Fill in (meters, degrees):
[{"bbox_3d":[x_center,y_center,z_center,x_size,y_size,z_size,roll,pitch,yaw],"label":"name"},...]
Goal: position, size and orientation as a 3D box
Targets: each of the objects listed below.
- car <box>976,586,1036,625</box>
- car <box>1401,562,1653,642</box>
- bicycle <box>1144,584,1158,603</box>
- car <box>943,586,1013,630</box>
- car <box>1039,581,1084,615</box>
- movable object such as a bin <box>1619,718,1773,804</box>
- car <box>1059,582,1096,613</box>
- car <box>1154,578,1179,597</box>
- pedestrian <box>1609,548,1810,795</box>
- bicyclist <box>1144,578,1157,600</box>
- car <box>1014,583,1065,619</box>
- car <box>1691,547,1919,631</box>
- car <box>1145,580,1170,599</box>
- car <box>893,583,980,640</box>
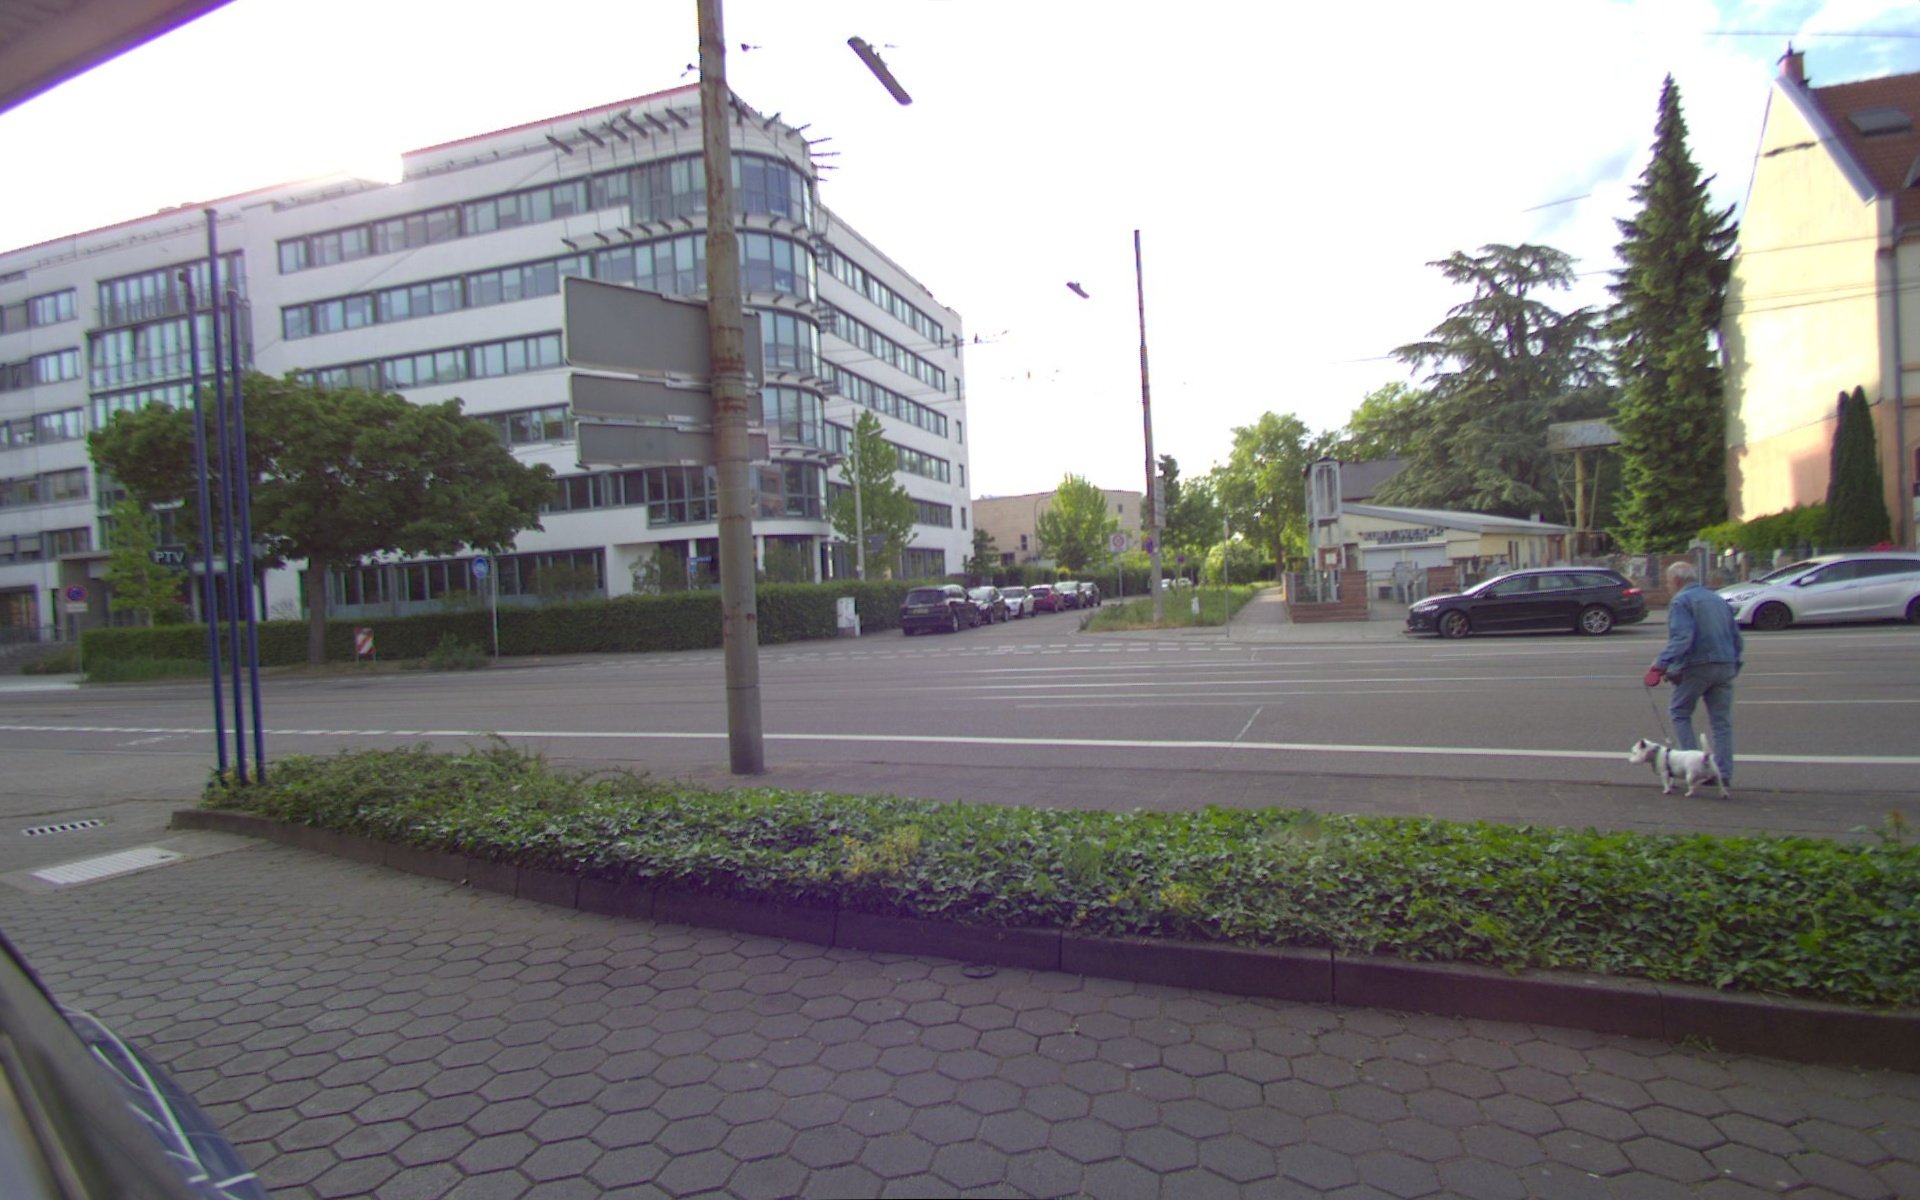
[{"bbox_3d":[2.138,0.211,45.789,1.929,1.530,4.274,-3,0,13],"label":"car"},{"bbox_3d":[12.908,0.051,23.445,4.742,1.511,2.001,-3,1,21],"label":"car"},{"bbox_3d":[14.689,-0.527,77.764,0.858,1.320,1.910,-3,3,16],"label":"bicycle"},{"bbox_3d":[0.790,0.288,40.978,1.929,1.551,4.274,-3,0,13],"label":"car"},{"bbox_3d":[5.831,-0.153,57.724,1.929,1.748,4.512,-3,0,13],"label":"car"},{"bbox_3d":[4.987,1.076,6.882,0.473,0.424,0.682,-4,1,-16],"label":"movable object such as a bin"},{"bbox_3d":[7.285,-0.164,62.498,1.731,1.748,4.030,-3,0,13],"label":"car"},{"bbox_3d":[21.686,-1.340,106.164,1.849,1.748,4.246,-3,1,19],"label":"car"},{"bbox_3d":[5.536,0.497,7.562,0.999,1.680,0.962,-3,1,29],"label":"pedestrian"},{"bbox_3d":[14.645,-0.855,77.666,0.858,1.617,1.023,-2,3,16],"label":"bicyclist"},{"bbox_3d":[4.171,0.020,52.495,1.929,1.650,4.274,-3,0,13],"label":"car"},{"bbox_3d":[18.419,-0.249,21.384,4.424,1.494,1.713,-3,1,21],"label":"car"},{"bbox_3d":[19.694,-1.090,100.795,1.849,1.748,4.247,-3,1,19],"label":"car"},{"bbox_3d":[-0.729,0.358,35.418,1.994,1.704,4.274,-3,1,13],"label":"car"}]
